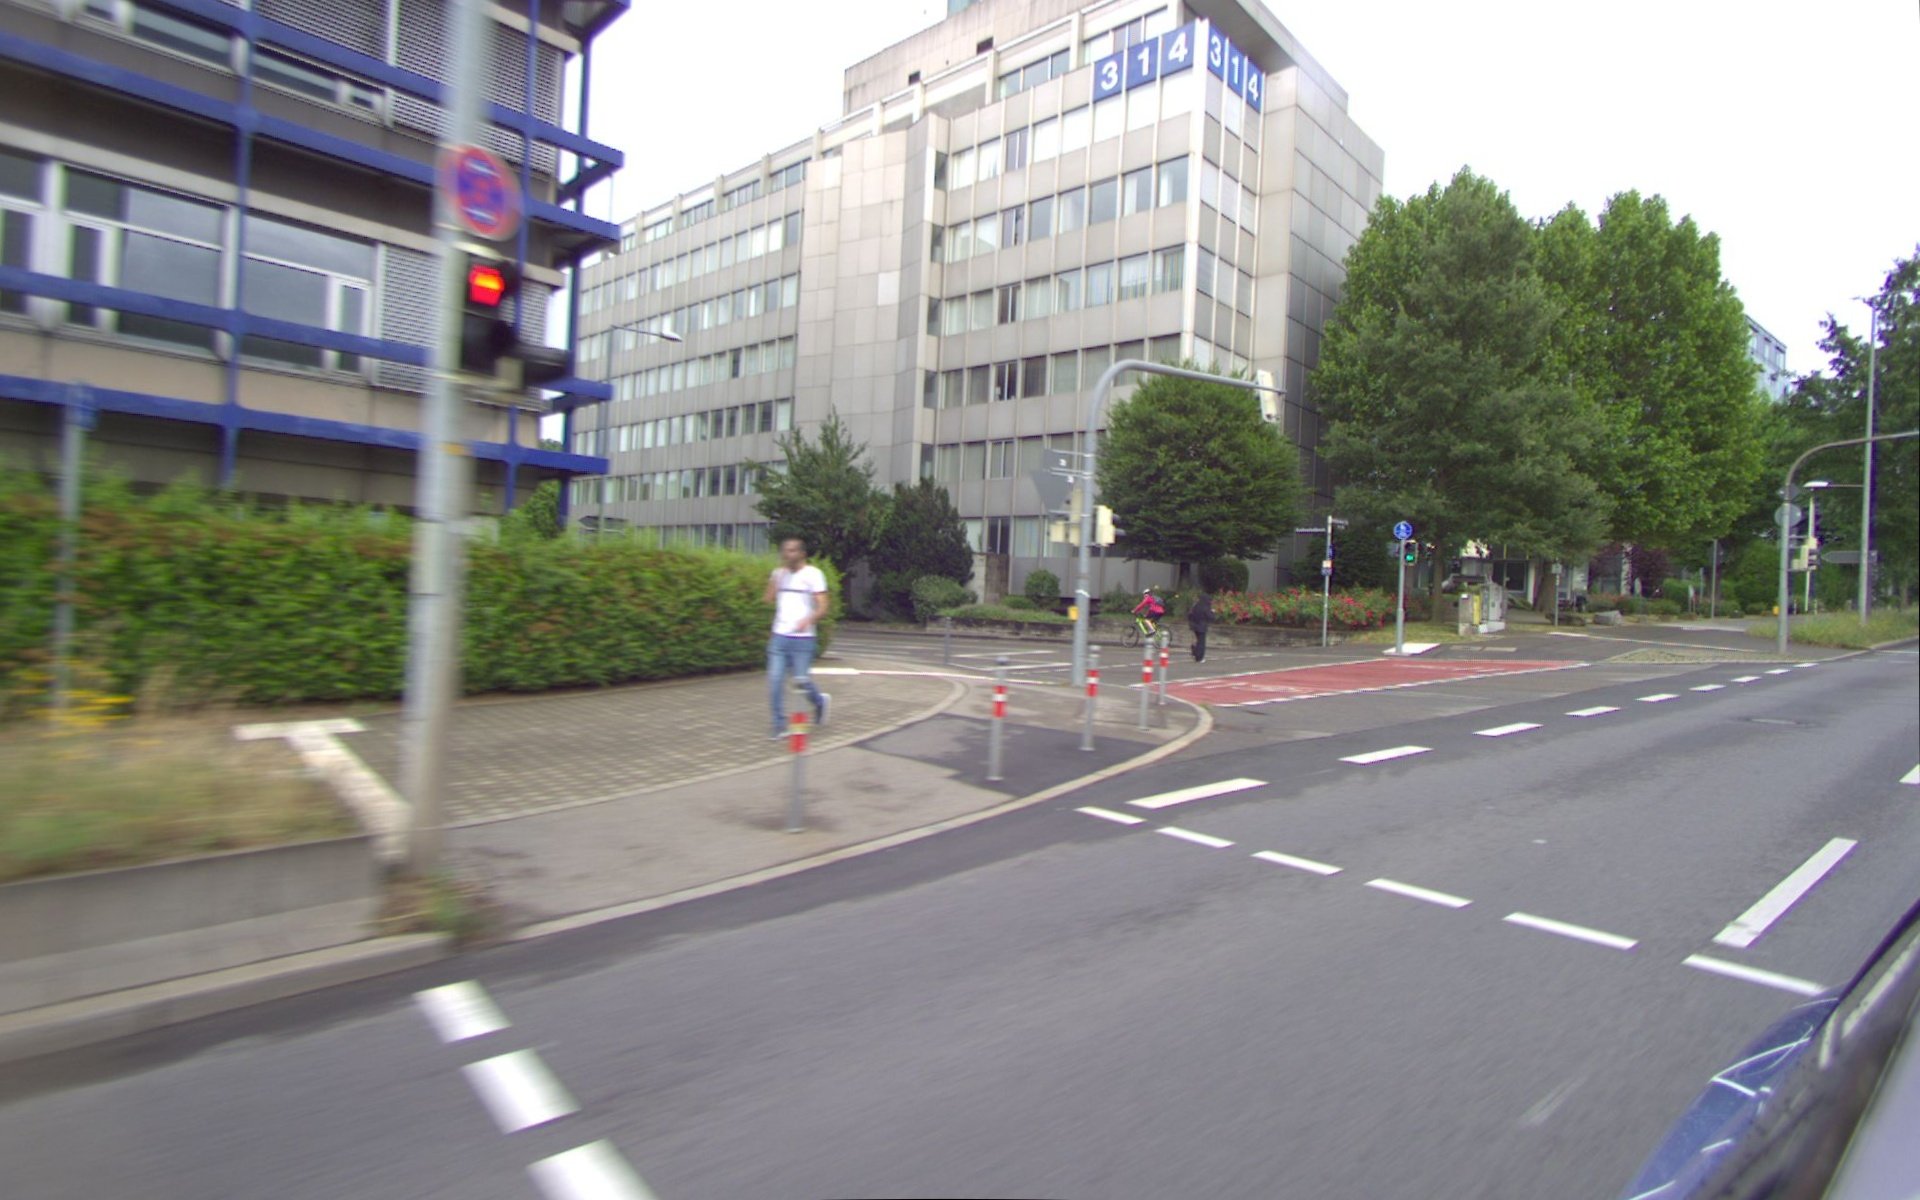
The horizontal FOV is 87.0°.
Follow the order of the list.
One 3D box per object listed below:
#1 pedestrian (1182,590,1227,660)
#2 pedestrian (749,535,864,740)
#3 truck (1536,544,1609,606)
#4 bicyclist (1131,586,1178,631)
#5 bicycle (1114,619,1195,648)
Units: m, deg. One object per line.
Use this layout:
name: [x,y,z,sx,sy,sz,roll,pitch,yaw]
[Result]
pedestrian: [5.631,0.568,23.353,0.784,1.560,0.904,1,1,-2]
pedestrian: [-1.318,0.294,8.752,0.553,1.673,0.820,1,1,40]
truck: [26.419,-1.055,43.597,3.935,2.549,1.747,-1,0,-44]
bicyclist: [5.804,0.259,30.231,1.211,1.304,0.649,-1,-1,35]
bicycle: [5.790,0.989,30.233,2.303,0.819,0.661,-1,0,36]
